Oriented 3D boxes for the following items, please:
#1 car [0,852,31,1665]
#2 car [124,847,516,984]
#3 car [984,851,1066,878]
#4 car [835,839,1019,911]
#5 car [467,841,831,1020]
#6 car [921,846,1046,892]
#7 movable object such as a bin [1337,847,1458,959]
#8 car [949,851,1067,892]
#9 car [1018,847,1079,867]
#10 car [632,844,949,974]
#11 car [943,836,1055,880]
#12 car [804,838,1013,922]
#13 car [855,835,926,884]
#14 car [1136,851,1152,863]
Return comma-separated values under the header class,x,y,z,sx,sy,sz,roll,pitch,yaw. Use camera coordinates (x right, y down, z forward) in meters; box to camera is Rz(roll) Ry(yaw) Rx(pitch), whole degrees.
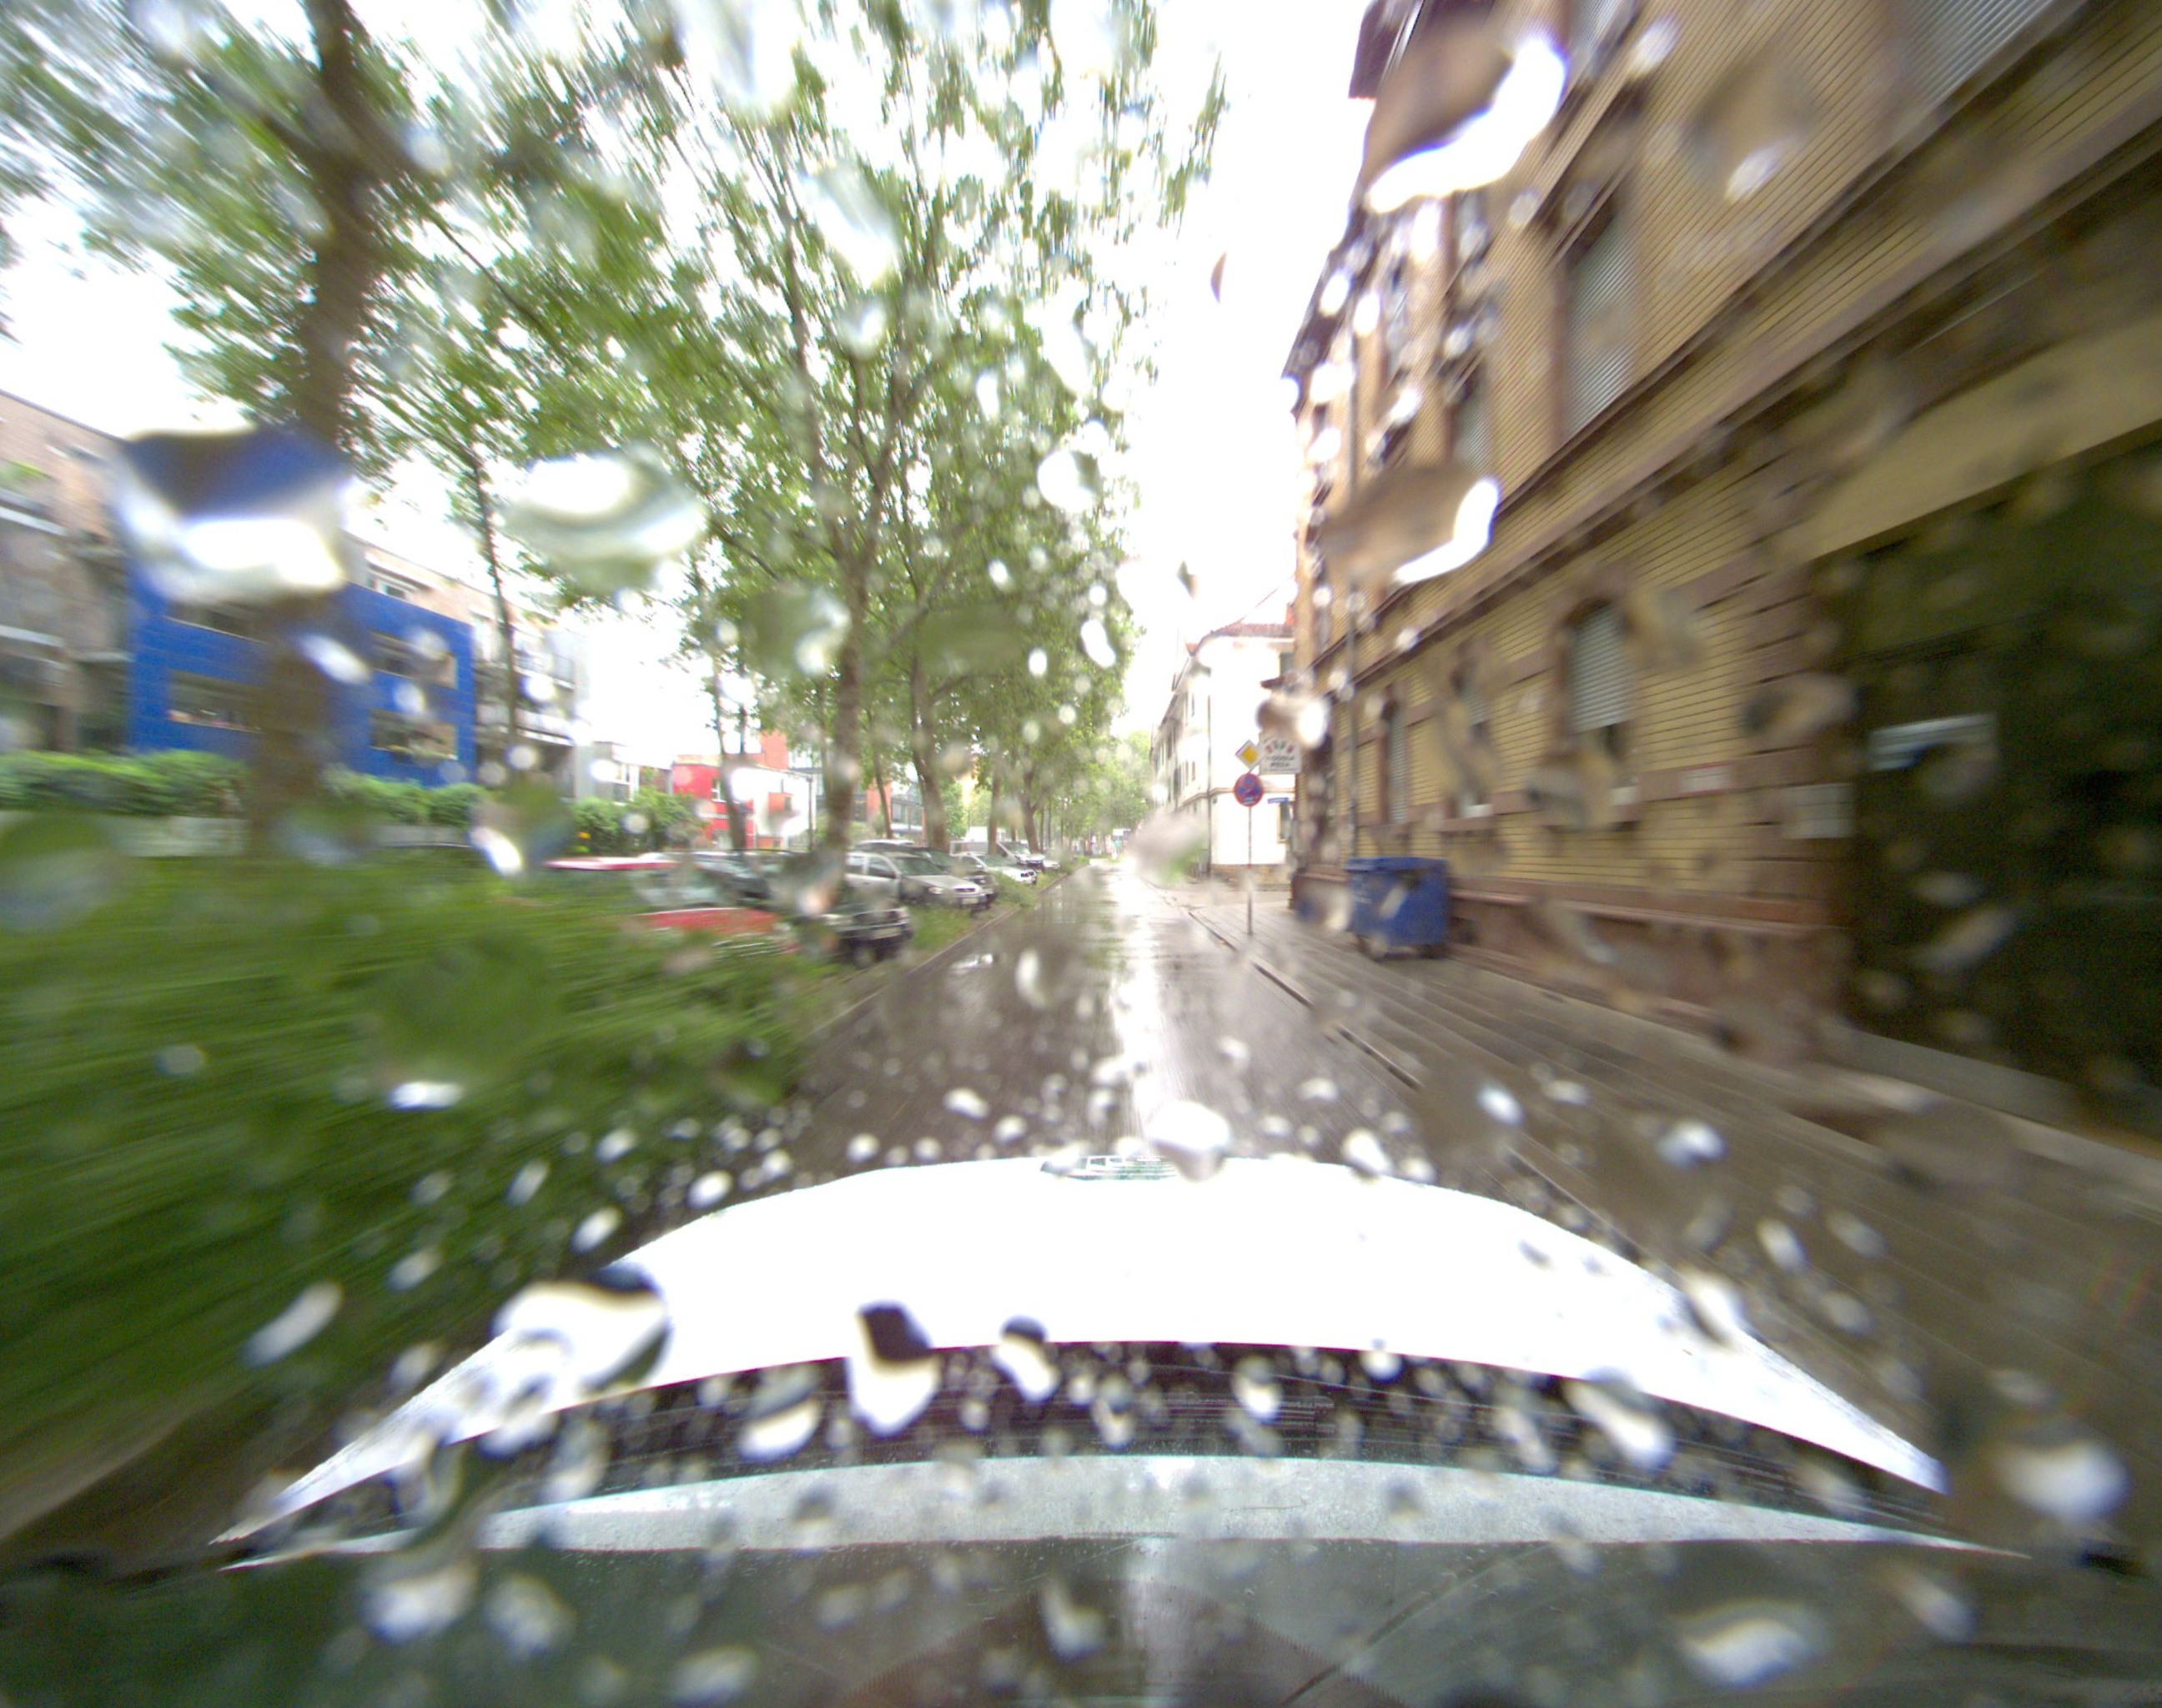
class,x,y,z,sx,sy,sz,roll,pitch,yaw
car,-4.245,0.760,1.542,4.016,1.537,1.846,1,1,24
car,-11.283,0.764,12.644,1.898,1.740,4.421,0,1,0
car,-3.267,0.616,47.305,4.502,1.482,1.786,-2,0,31
car,-3.954,0.493,20.792,4.362,1.660,1.942,-1,1,29
car,-4.540,0.615,8.483,3.607,1.479,1.755,1,1,32
car,-3.450,0.470,28.781,4.019,1.499,1.758,1,1,25
movable object such as a bin,4.133,0.606,10.754,1.017,1.301,1.367,-4,1,1
car,-2.826,0.626,31.443,4.262,1.436,1.758,1,1,28
car,-2.576,0.222,64.653,4.416,1.597,1.935,0,1,28
car,-4.032,0.612,11.174,4.177,1.479,1.754,1,1,29
car,-3.955,0.208,38.944,5.065,1.977,2.116,-2,0,32
car,-3.839,0.564,17.904,4.361,1.645,1.884,-2,0,32
car,-8.354,0.186,36.177,2.032,1.999,5.157,0,1,-1
car,8.759,0.365,113.979,1.986,1.640,4.001,0,0,1
